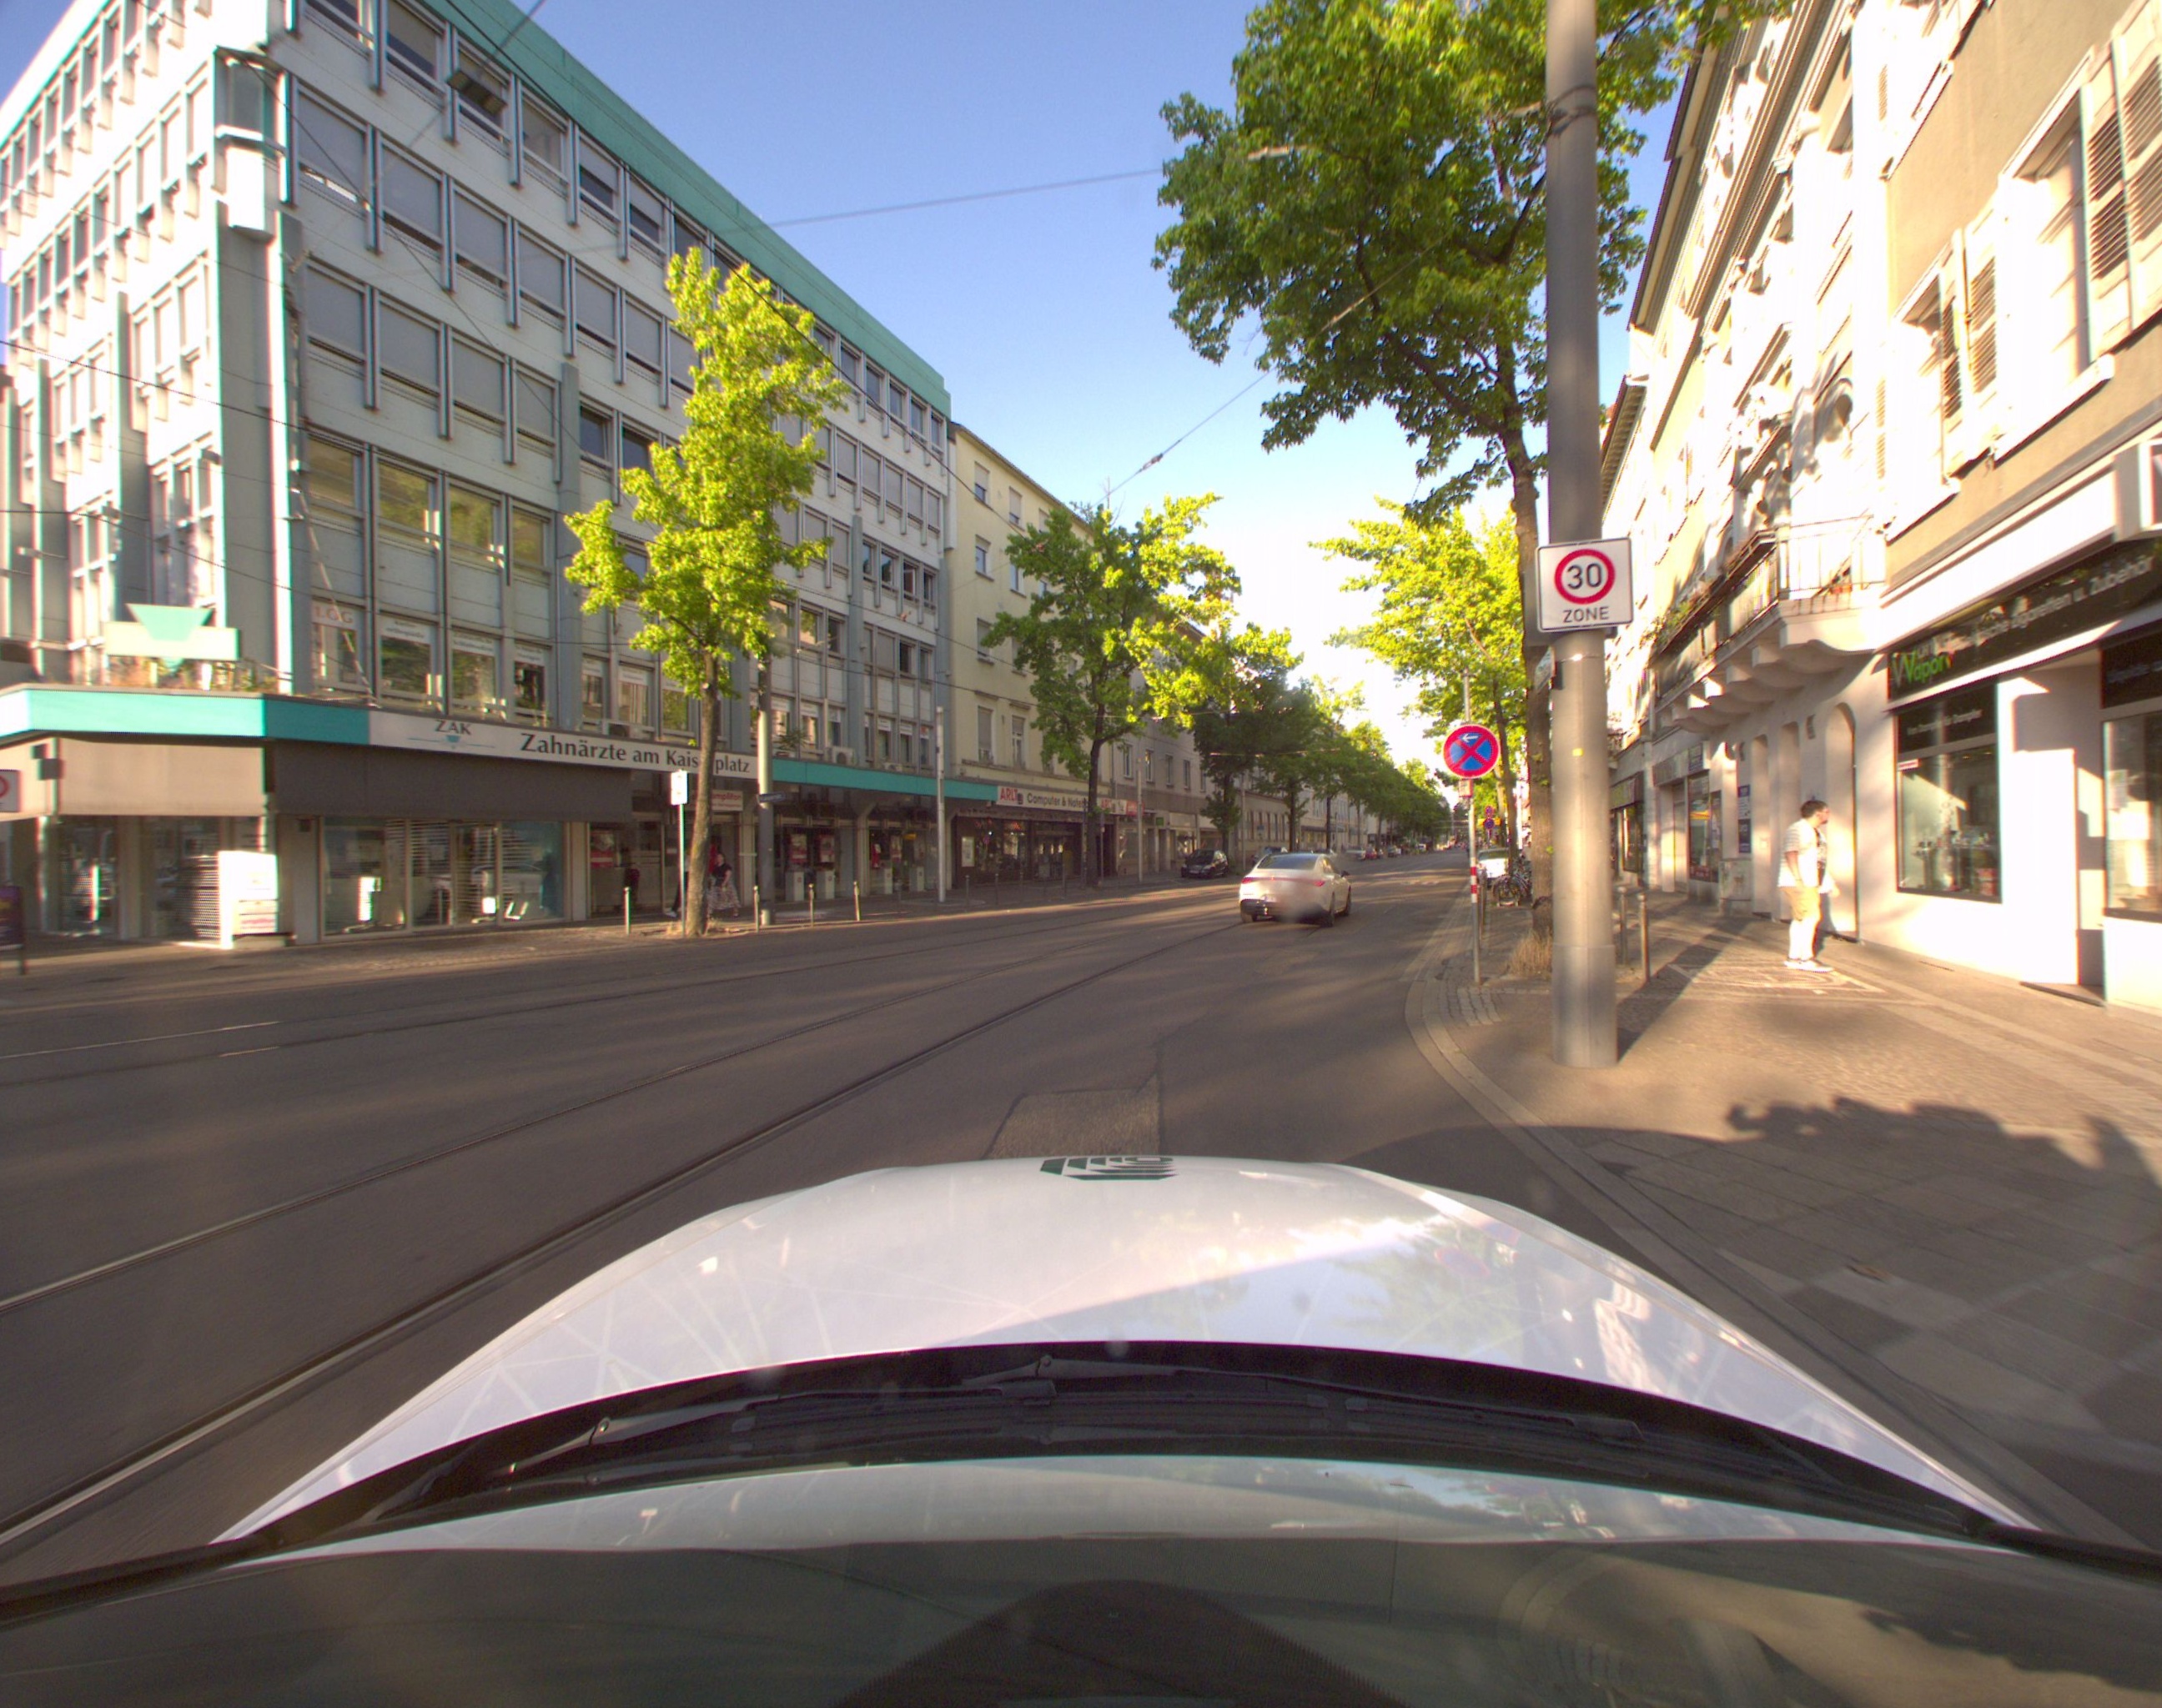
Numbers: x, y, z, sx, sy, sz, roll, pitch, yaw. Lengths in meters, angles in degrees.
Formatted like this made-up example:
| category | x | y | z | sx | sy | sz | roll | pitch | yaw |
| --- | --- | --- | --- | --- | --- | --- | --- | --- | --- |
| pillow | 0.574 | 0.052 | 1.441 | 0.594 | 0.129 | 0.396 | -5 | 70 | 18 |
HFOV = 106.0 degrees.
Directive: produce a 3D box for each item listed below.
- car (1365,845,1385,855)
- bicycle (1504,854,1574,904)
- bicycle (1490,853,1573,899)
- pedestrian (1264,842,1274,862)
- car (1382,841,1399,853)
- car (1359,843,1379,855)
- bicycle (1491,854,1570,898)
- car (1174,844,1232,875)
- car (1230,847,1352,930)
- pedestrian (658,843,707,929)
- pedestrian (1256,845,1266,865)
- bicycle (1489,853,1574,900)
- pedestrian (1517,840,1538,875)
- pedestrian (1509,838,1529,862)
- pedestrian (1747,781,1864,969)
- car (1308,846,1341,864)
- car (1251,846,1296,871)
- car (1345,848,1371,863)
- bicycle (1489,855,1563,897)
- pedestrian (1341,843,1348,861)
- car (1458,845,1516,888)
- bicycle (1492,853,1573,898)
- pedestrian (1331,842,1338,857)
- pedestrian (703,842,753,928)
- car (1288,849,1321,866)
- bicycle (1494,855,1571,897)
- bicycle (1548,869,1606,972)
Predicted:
| category | x | y | z | sx | sy | sz | roll | pitch | yaw |
| --- | --- | --- | --- | --- | --- | --- | --- | --- | --- |
| car | 39.022 | -0.476 | 108.083 | 1.975 | 1.292 | 4.024 | 0 | 0 | 27 |
| bicycle | 10.984 | 0.583 | 19.597 | 0.460 | 1.154 | 1.674 | 0 | 0 | -12 |
| bicycle | 11.587 | 0.559 | 20.982 | 1.848 | 1.154 | 0.566 | -1 | 0 | 29 |
| pedestrian | 15.721 | -0.161 | 67.948 | 0.680 | 1.720 | 0.660 | 0 | 0 | 27 |
| car | 45.739 | -1.016 | 120.437 | 1.537 | 1.796 | 3.187 | -1 | 0 | 35 |
| car | 35.667 | -0.620 | 100.693 | 1.673 | 1.499 | 4.260 | 0 | 0 | 28 |
| bicycle | 12.244 | 0.595 | 22.209 | 1.848 | 1.154 | 0.566 | -1 | 0 | 29 |
| car | 6.838 | 0.268 | 45.305 | 1.943 | 1.640 | 4.024 | 0 | 0 | 28 |
| car | 4.613 | 0.629 | 17.448 | 1.851 | 1.468 | 4.065 | 2 | 1 | 24 |
| pedestrian | -9.645 | 0.759 | 19.709 | 0.789 | 2.014 | 0.738 | 0 | -1 | 28 |
| pedestrian | 15.144 | 0.100 | 68.569 | 0.668 | 1.680 | 0.651 | -1 | 0 | 27 |
| bicycle | 11.324 | 0.559 | 20.512 | 1.848 | 1.154 | 0.350 | -1 | -1 | 29 |
| pedestrian | 20.922 | 0.161 | 38.160 | 0.795 | 1.643 | 0.760 | -2 | 0 | 27 |
| pedestrian | 25.622 | -0.232 | 47.634 | 0.707 | 1.387 | 0.744 | -1 | 0 | -11 |
| pedestrian | 8.284 | 0.227 | 9.318 | 0.847 | 2.014 | 0.837 | 0 | -1 | -37 |
| car | 22.610 | 0.046 | 75.412 | 1.928 | 1.640 | 4.939 | 0 | 0 | 28 |
| car | 13.805 | 0.269 | 58.332 | 1.944 | 1.639 | 4.841 | 2 | 1 | 27 |
| car | 31.301 | 0.184 | 92.007 | 1.943 | 1.692 | 5.043 | 0 | 0 | 28 |
| bicycle | 12.732 | 0.612 | 23.337 | 1.848 | 1.154 | 0.566 | -1 | 0 | 29 |
| pedestrian | 30.831 | -0.248 | 95.222 | 0.701 | 2.004 | 0.679 | -1 | 0 | 20 |
| car | 15.494 | 0.450 | 31.022 | 1.759 | 1.440 | 4.449 | -4 | -2 | 27 |
| bicycle | 11.956 | 0.547 | 21.598 | 1.848 | 1.154 | 0.566 | -1 | 0 | 29 |
| pedestrian | 29.803 | -0.551 | 95.671 | 0.701 | 1.806 | 0.679 | -1 | 0 | 22 |
| pedestrian | -8.403 | 0.722 | 19.396 | 0.789 | 2.014 | 0.738 | 0 | -1 | 28 |
| car | 18.830 | 0.270 | 68.461 | 1.944 | 1.412 | 4.874 | 0 | 0 | 24 |
| bicycle | 12.577 | 0.598 | 22.732 | 1.848 | 1.154 | 0.566 | -1 | 0 | 29 |
| bicycle | 5.772 | 0.723 | 9.530 | 0.351 | 1.076 | 1.708 | 0 | 0 | 24 |
